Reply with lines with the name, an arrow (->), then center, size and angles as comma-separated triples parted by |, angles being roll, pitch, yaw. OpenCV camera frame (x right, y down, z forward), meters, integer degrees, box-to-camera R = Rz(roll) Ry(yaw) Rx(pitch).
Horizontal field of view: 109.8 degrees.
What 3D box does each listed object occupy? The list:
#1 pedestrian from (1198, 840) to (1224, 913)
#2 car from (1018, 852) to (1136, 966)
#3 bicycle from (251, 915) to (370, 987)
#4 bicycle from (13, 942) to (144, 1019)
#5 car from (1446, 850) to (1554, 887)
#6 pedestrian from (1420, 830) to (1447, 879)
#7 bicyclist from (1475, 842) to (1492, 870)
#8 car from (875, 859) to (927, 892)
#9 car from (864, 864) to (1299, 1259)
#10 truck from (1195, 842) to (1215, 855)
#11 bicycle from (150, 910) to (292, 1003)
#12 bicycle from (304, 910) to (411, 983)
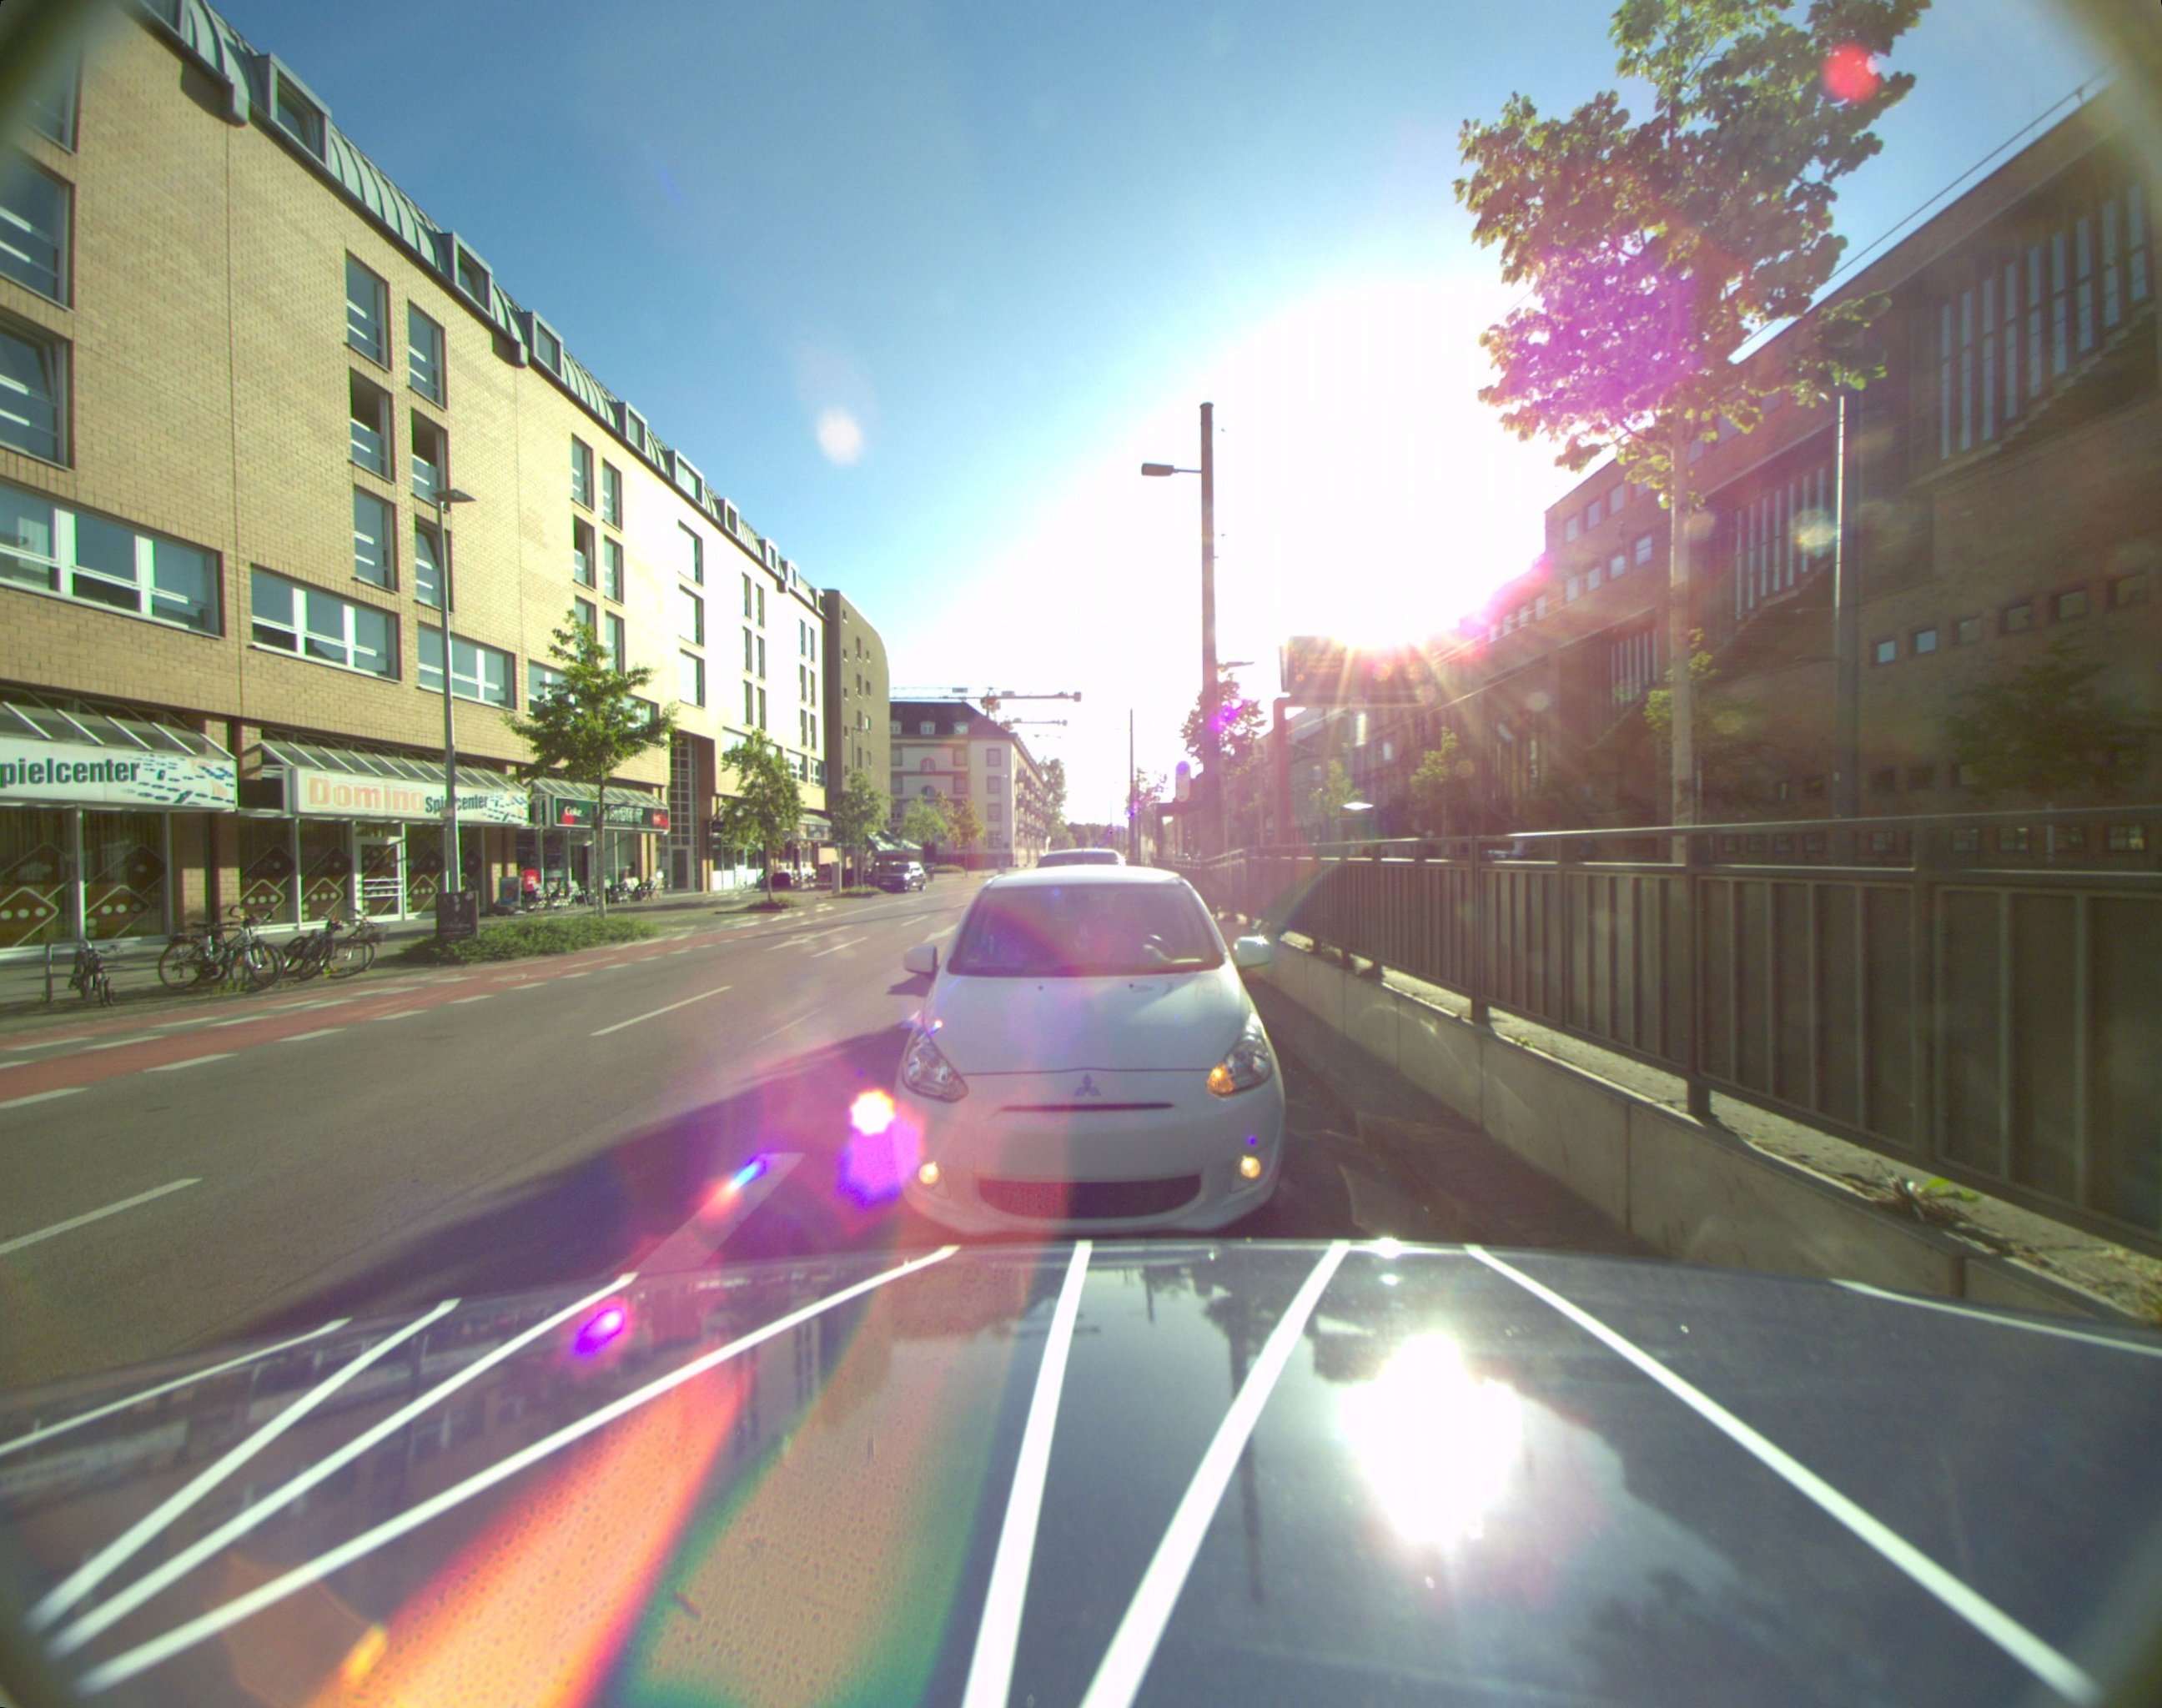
pedestrian -> 4.386, 0.745, 25.626 | 0.684, 2.428, 0.626 | -2, 2, -2
car -> -0.064, 0.823, 13.603 | 1.720, 1.591, 4.215 | -2, 1, 0
bicycle -> -12.102, 1.501, 11.931 | 1.835, 0.980, 0.449 | 1, 2, 15
bicycle -> -13.038, 1.631, 9.876 | 1.772, 0.827, 0.366 | 1, 2, 15
car -> 17.432, 0.572, 31.912 | 1.830, 1.422, 4.528 | -1, 0, -3
pedestrian -> 13.340, 0.002, 28.764 | 0.685, 1.797, 0.668 | -2, 2, 0
bicyclist -> 22.419, 0.128, 42.297 | 0.588, 1.525, 0.650 | -2, 2, 1
car -> -9.803, 1.147, 41.610 | 1.779, 1.630, 4.000 | -1, 0, 1
car -> 0.004, 0.880, 5.213 | 1.720, 1.422, 4.215 | -2, 1, 0
truck -> 17.608, -0.777, 108.287 | 1.999, 1.868, 5.155 | 1, 0, 0
bicycle -> -12.373, 1.447, 10.934 | 1.835, 1.156, 0.565 | 1, 2, 15
bicycle -> -11.893, 1.503, 12.489 | 1.835, 1.050, 0.350 | 1, 2, 15
